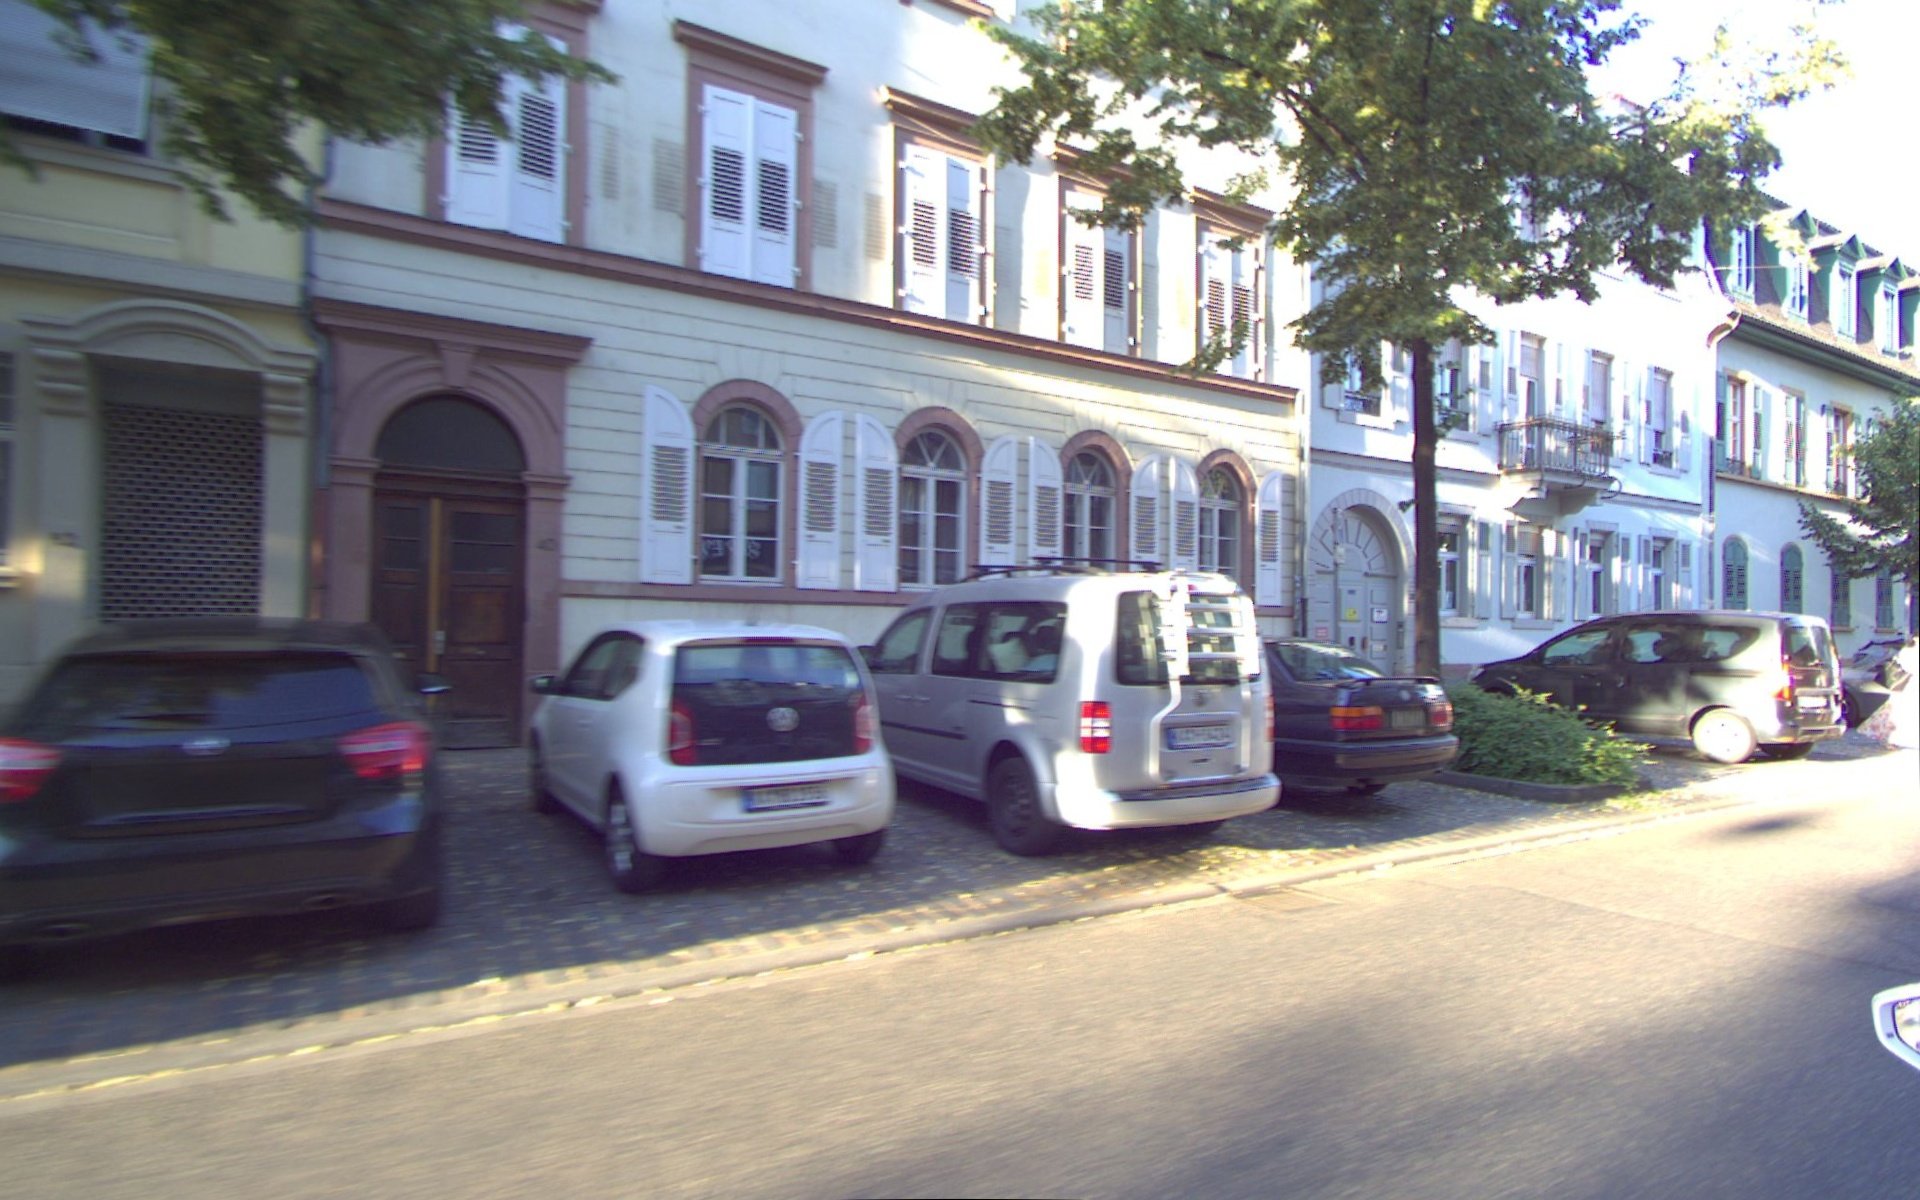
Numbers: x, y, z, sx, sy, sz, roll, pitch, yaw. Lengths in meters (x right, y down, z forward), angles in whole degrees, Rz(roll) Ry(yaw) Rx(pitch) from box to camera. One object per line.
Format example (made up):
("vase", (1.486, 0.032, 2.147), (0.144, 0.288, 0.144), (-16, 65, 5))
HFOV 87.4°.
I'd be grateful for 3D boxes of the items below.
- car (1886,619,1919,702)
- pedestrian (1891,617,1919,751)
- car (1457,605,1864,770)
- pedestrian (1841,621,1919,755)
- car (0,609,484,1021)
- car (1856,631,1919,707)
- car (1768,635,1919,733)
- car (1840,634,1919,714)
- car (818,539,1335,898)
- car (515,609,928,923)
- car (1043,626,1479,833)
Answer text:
("car", (23.459, 1.380, 21.955), (1.871, 1.895, 4.409), (1, -1, -29))
("pedestrian", (13.229, 1.120, 13.439), (0.753, 1.782, 0.917), (1, -2, -29))
("car", (9.075, 1.014, 13.416), (1.784, 1.830, 4.122), (1, -1, -28))
("pedestrian", (12.433, 1.143, 13.321), (0.753, 1.717, 0.917), (1, -2, -29))
("car", (-3.799, 0.814, 5.657), (1.729, 1.422, 3.969), (3, -1, -29))
("car", (21.449, 1.467, 20.738), (1.939, 1.576, 4.022), (1, -1, -27))
("car", (15.668, 1.339, 16.032), (1.667, 1.481, 4.036), (1, -1, -32))
("car", (19.603, 1.446, 19.046), (1.940, 1.503, 4.019), (1, -1, -30))
("car", (0.532, 0.683, 7.988), (1.894, 1.979, 4.483), (1, -1, -27))
("car", (-1.819, 0.851, 6.849), (1.695, 1.486, 3.349), (1, 0, -33))
("car", (2.594, 1.028, 9.683), (1.574, 1.459, 4.135), (1, -1, -28))
